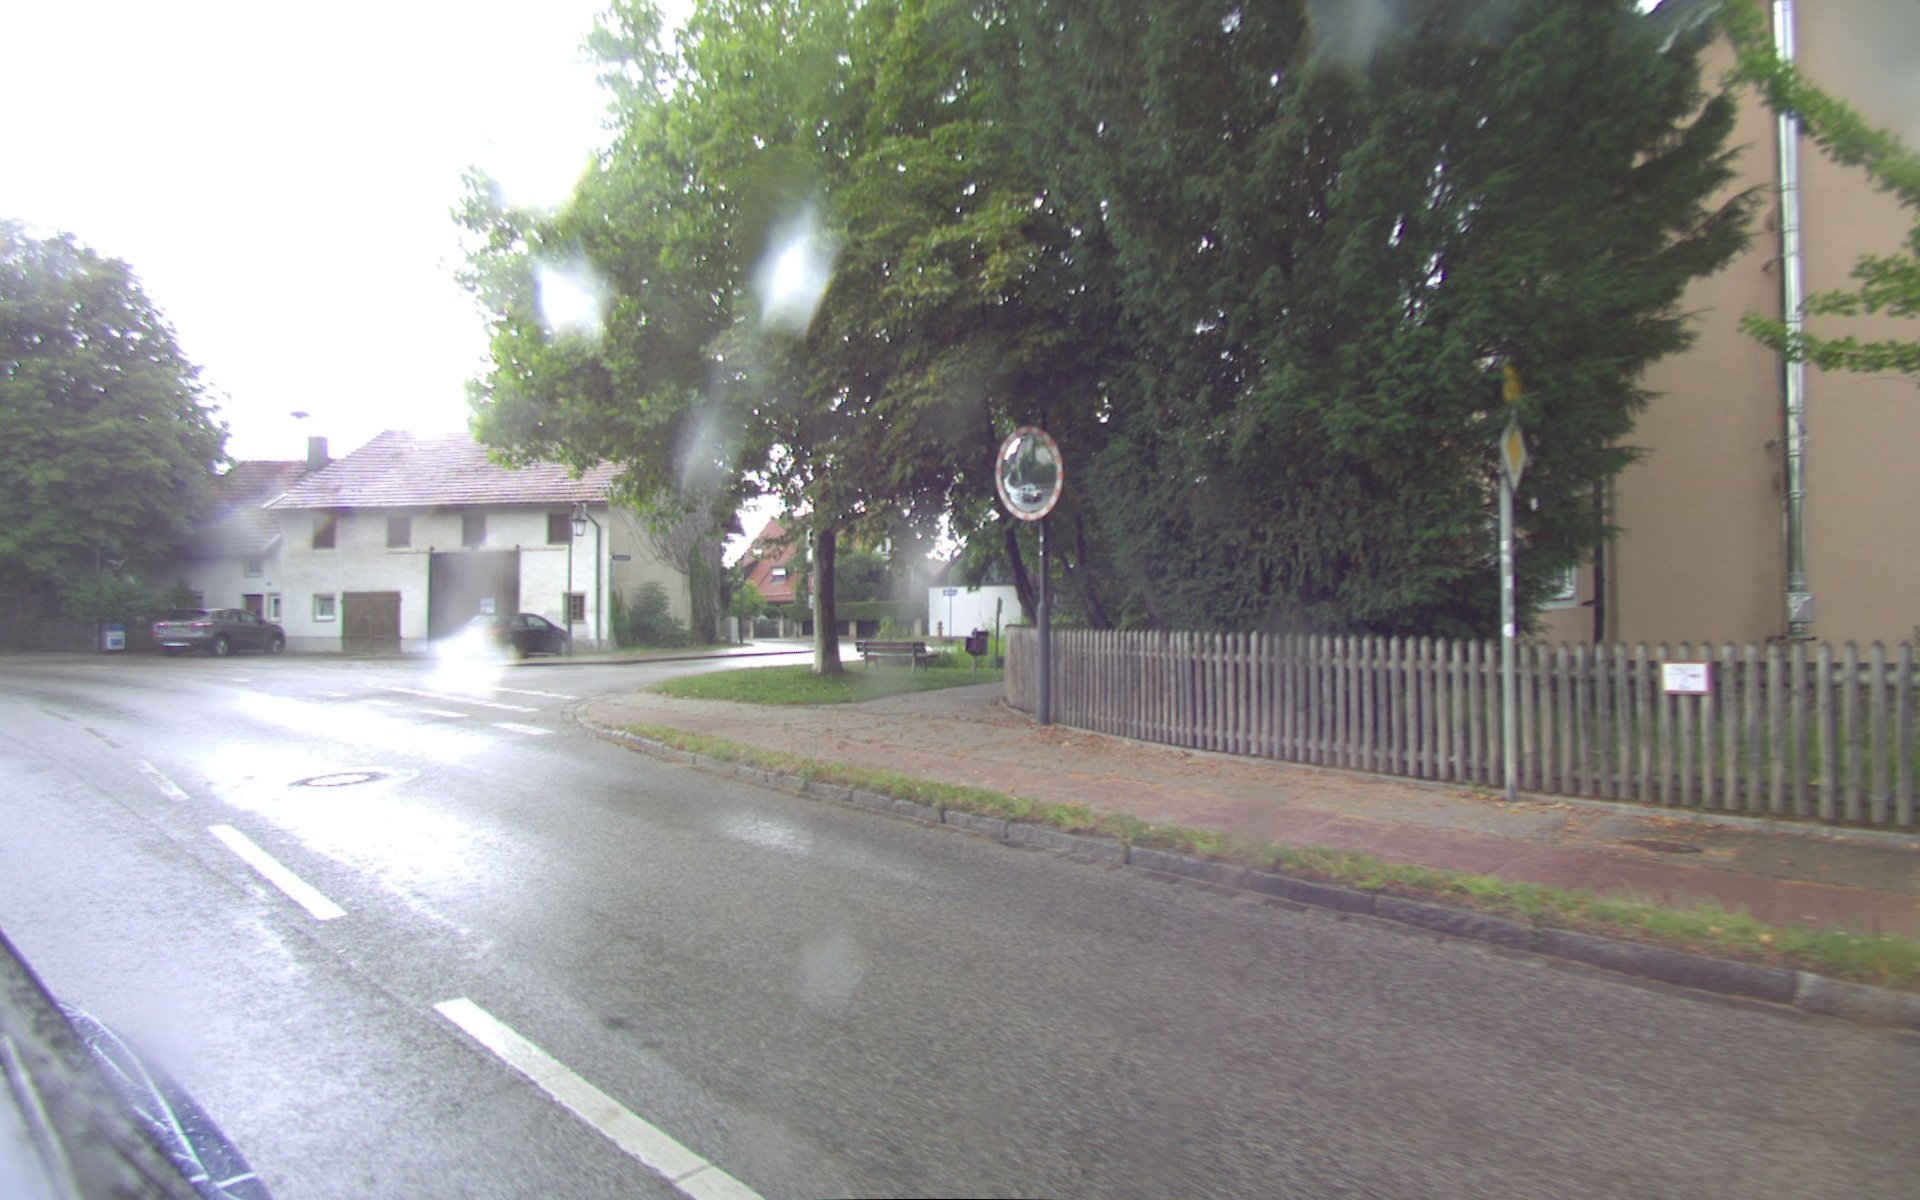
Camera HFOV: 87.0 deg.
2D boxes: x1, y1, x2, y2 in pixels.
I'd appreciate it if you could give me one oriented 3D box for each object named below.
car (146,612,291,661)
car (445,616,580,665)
[{"bbox_3d":[-24.716,1.239,33.942,1.791,1.560,4.282,0,-3,-2],"label":"car"},{"bbox_3d":[-14.144,1.249,32.279,1.802,1.447,4.264,0,-1,13],"label":"car"}]
